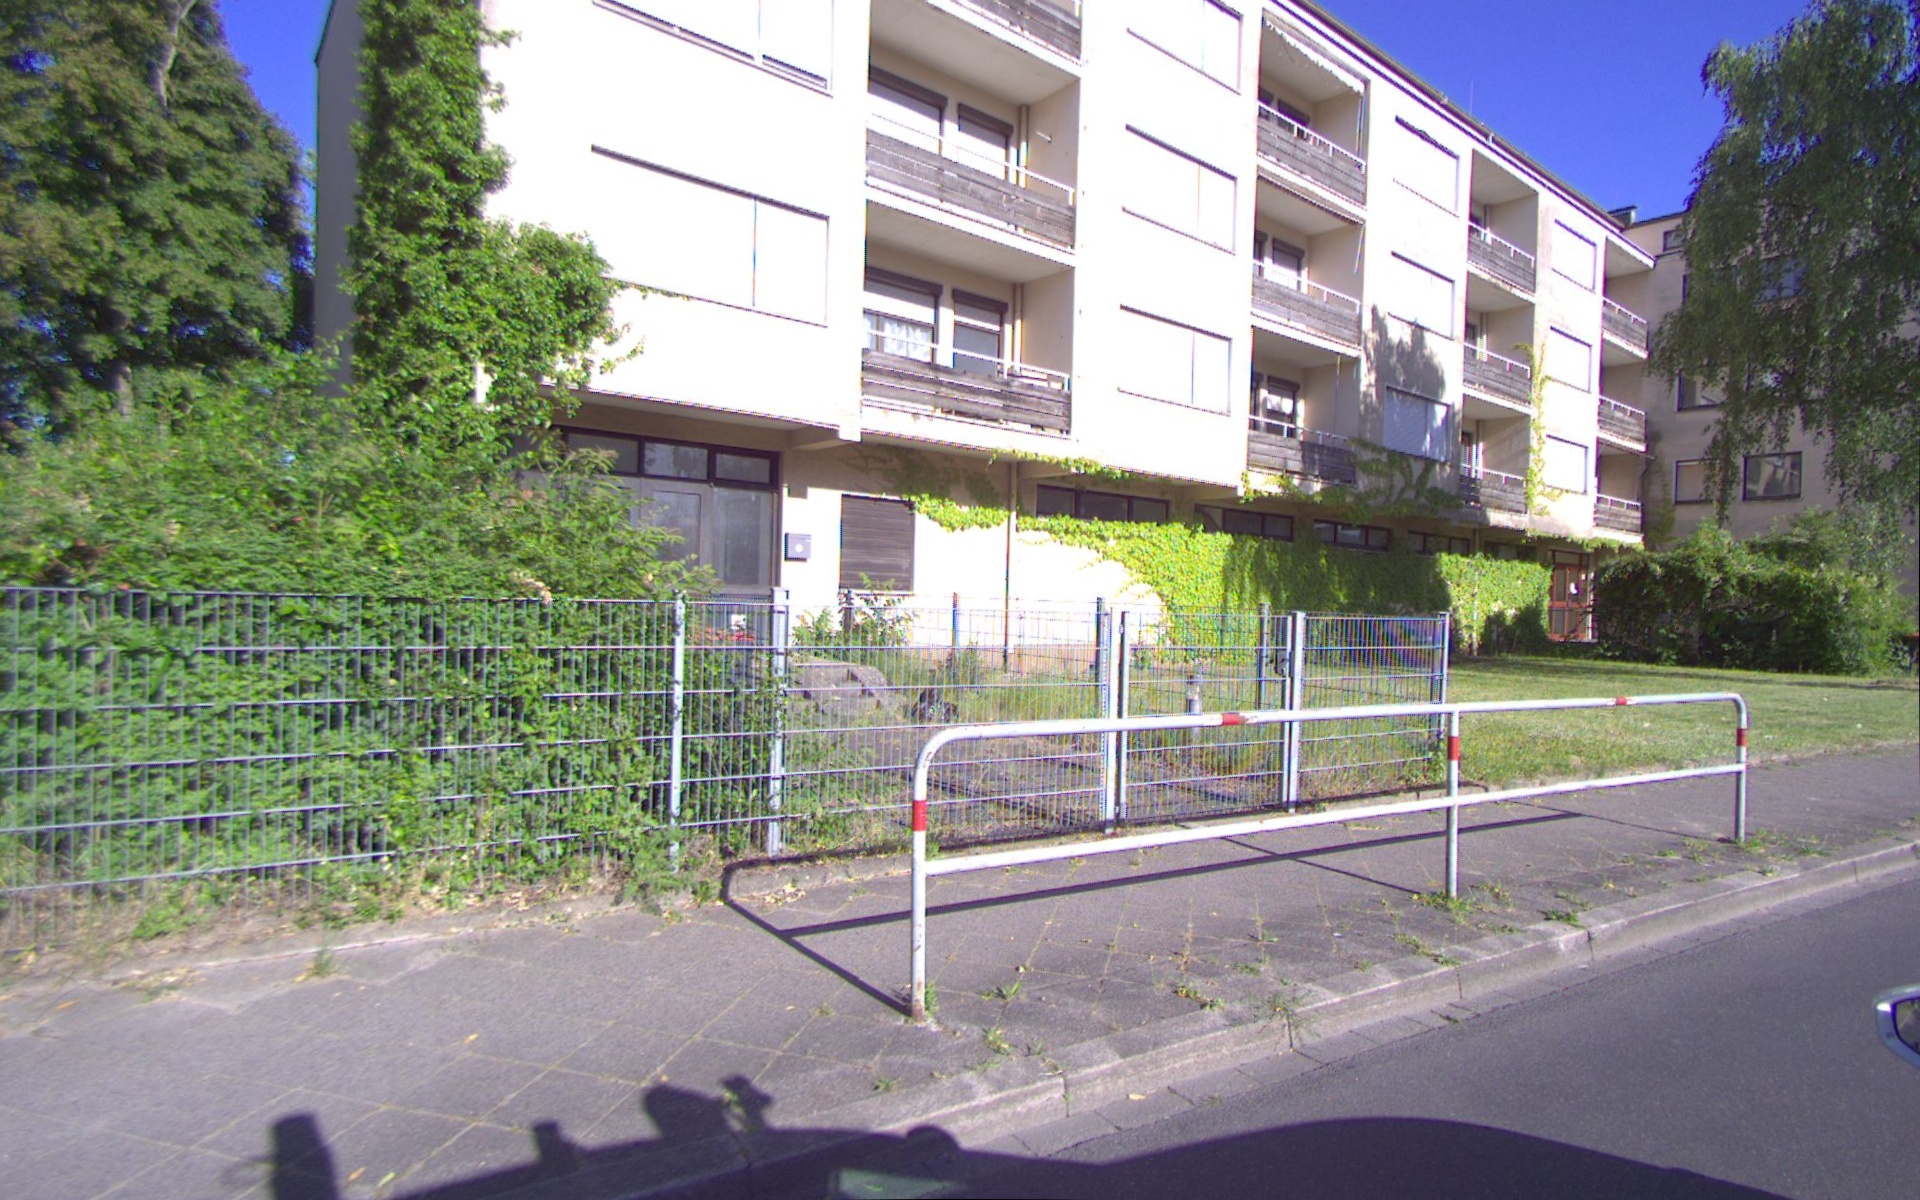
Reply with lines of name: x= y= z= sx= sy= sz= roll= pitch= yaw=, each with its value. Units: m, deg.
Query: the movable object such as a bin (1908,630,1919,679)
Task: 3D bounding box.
movable object such as a bin: x=21.482 y=1.217 z=22.313 sx=0.556 sy=1.067 sz=0.554 roll=2 pitch=0 yaw=40

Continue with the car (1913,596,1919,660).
car: x=39.077 y=1.079 z=36.648 sx=2.185 sy=2.461 sz=5.882 roll=0 pitch=0 yaw=-27
